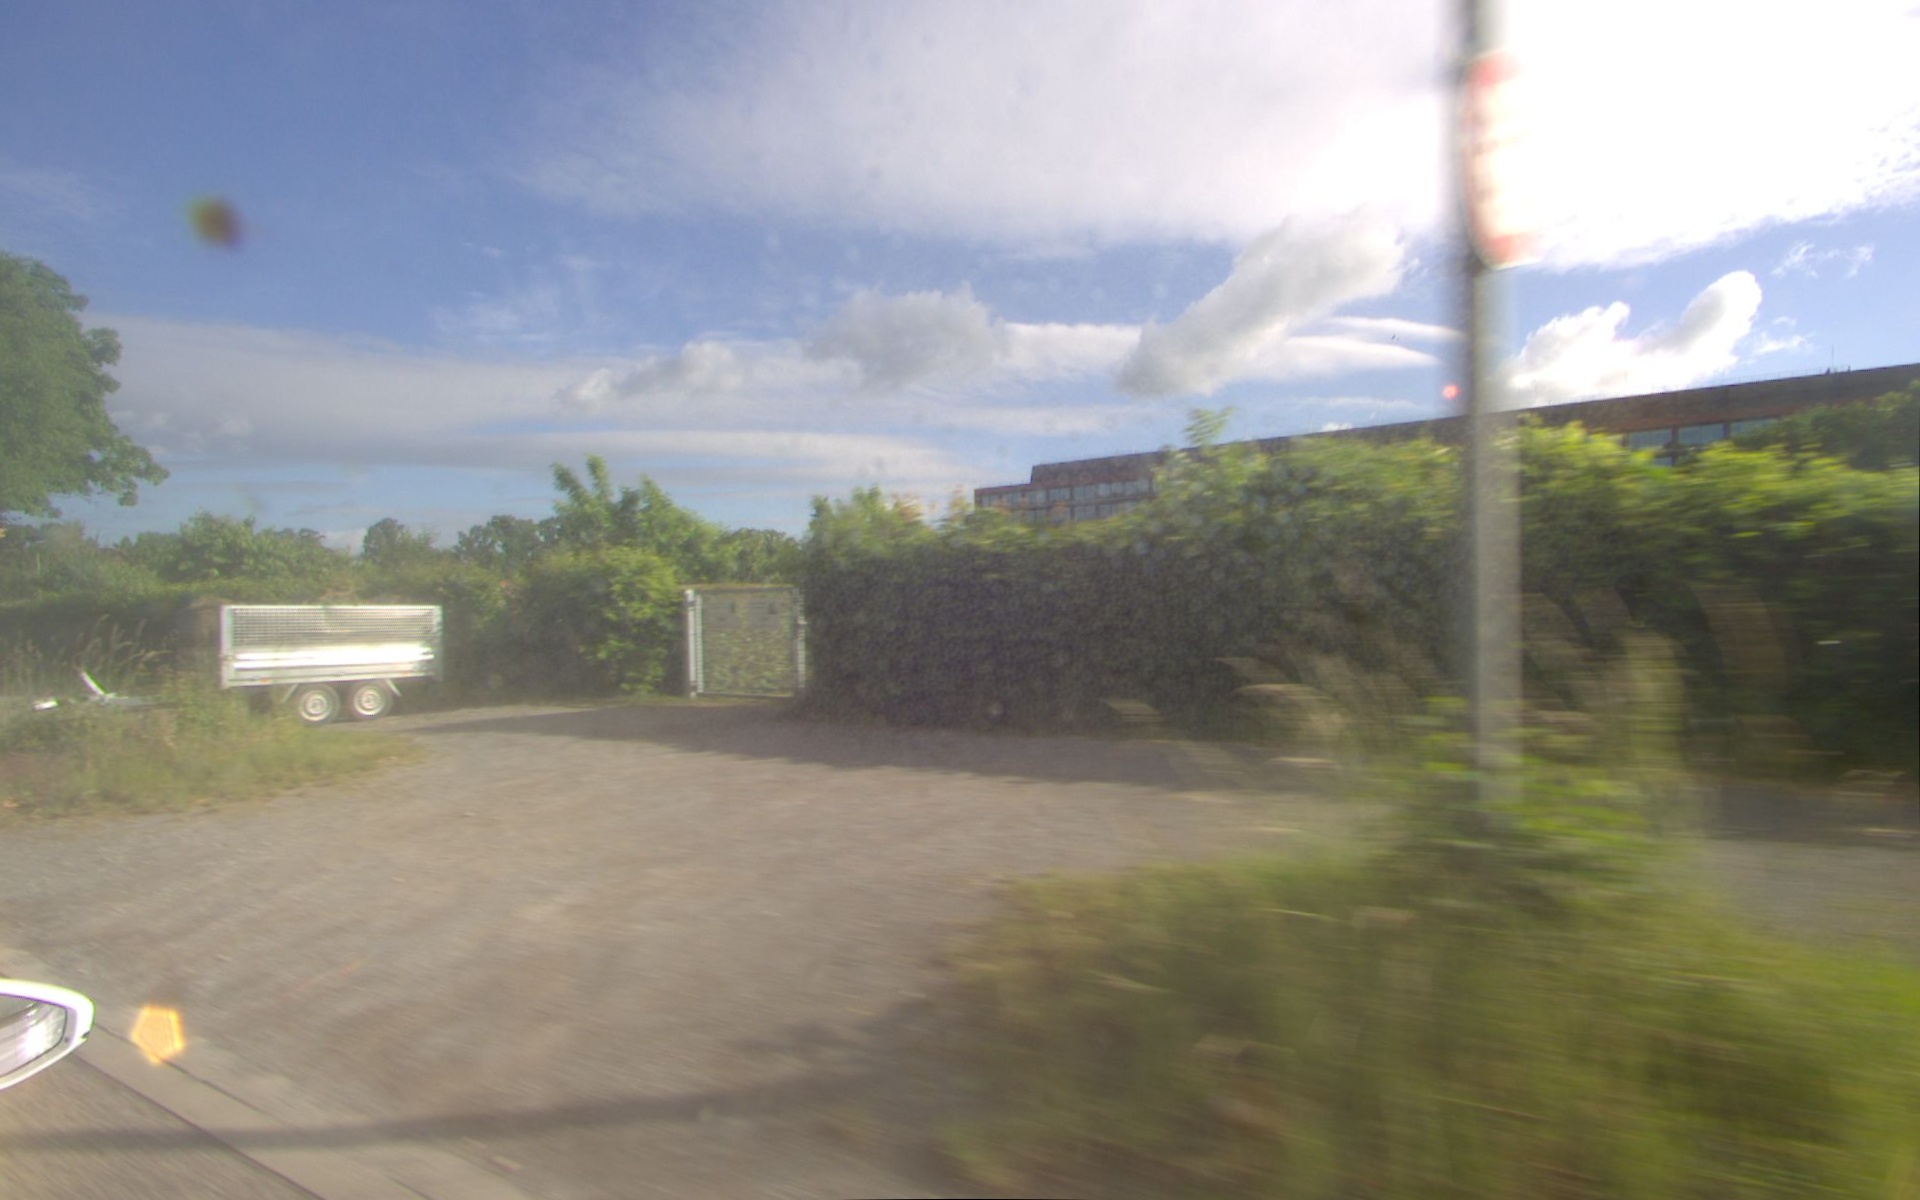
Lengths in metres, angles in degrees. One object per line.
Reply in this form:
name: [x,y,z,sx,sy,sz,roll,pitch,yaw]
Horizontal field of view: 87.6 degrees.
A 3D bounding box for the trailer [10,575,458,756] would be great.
trailer: [-8.849,0.652,12.559,1.891,1.859,4.137,-1,1,36]
